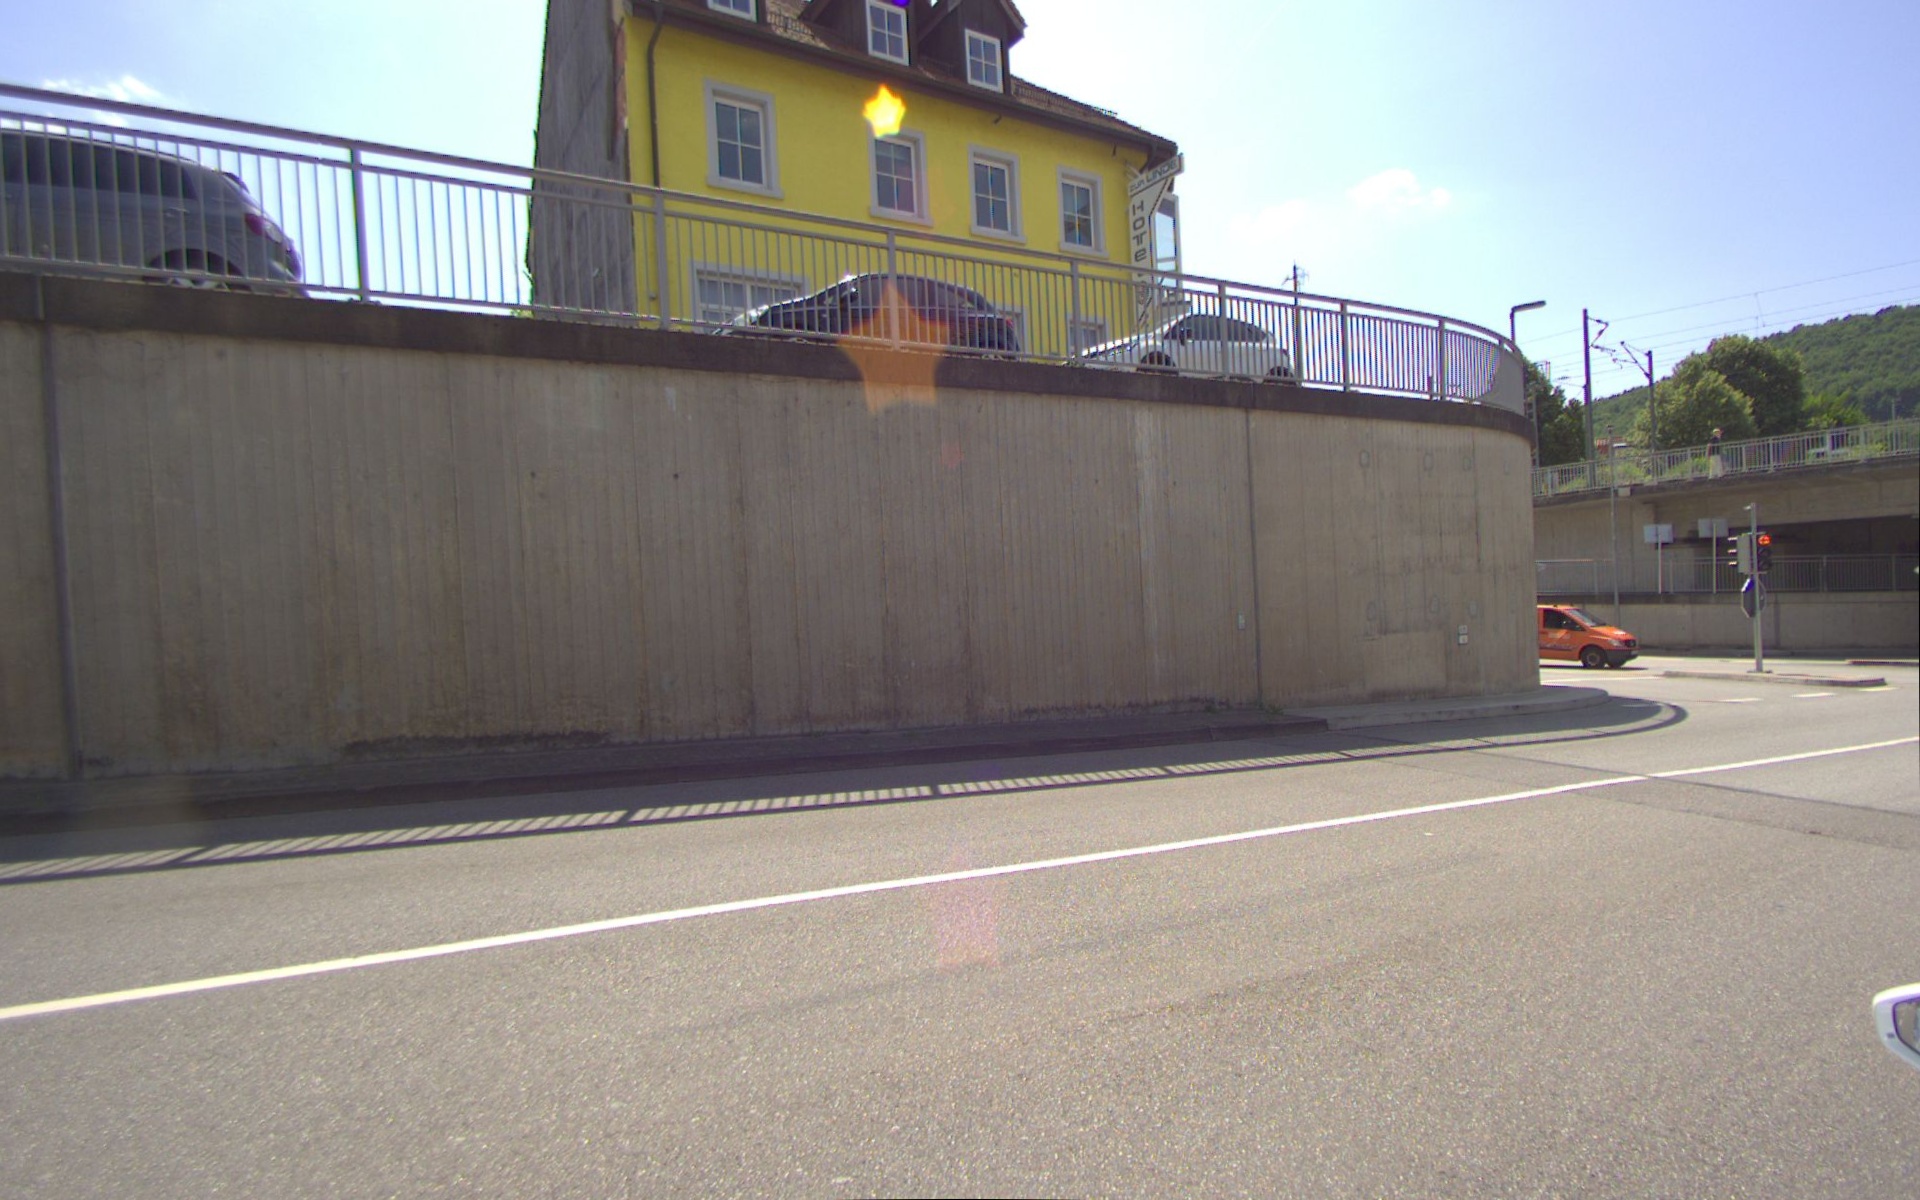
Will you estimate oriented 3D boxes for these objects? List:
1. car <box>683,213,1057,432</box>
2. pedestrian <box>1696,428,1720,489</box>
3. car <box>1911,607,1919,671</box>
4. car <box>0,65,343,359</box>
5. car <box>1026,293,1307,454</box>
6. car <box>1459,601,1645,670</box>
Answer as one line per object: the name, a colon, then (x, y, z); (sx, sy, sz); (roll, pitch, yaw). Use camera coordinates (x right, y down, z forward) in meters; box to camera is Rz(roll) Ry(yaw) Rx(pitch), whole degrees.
car: (-1.032, -3.183, 12.276); (4.176, 1.728, 1.812); (-2, 1, -33)
pedestrian: (27.290, -5.148, 36.640); (0.531, 2.108, 0.571); (0, -1, -40)
car: (26.354, 0.991, 24.705); (3.927, 1.639, 1.807); (-1, 1, 28)
car: (-7.507, -3.109, 8.030); (4.345, 1.545, 1.788); (-2, 1, -33)
car: (3.160, -3.273, 15.184); (3.955, 1.690, 1.892); (-2, 1, -32)
car: (18.408, 1.048, 31.434); (1.863, 1.958, 4.665); (-2, 1, -39)
